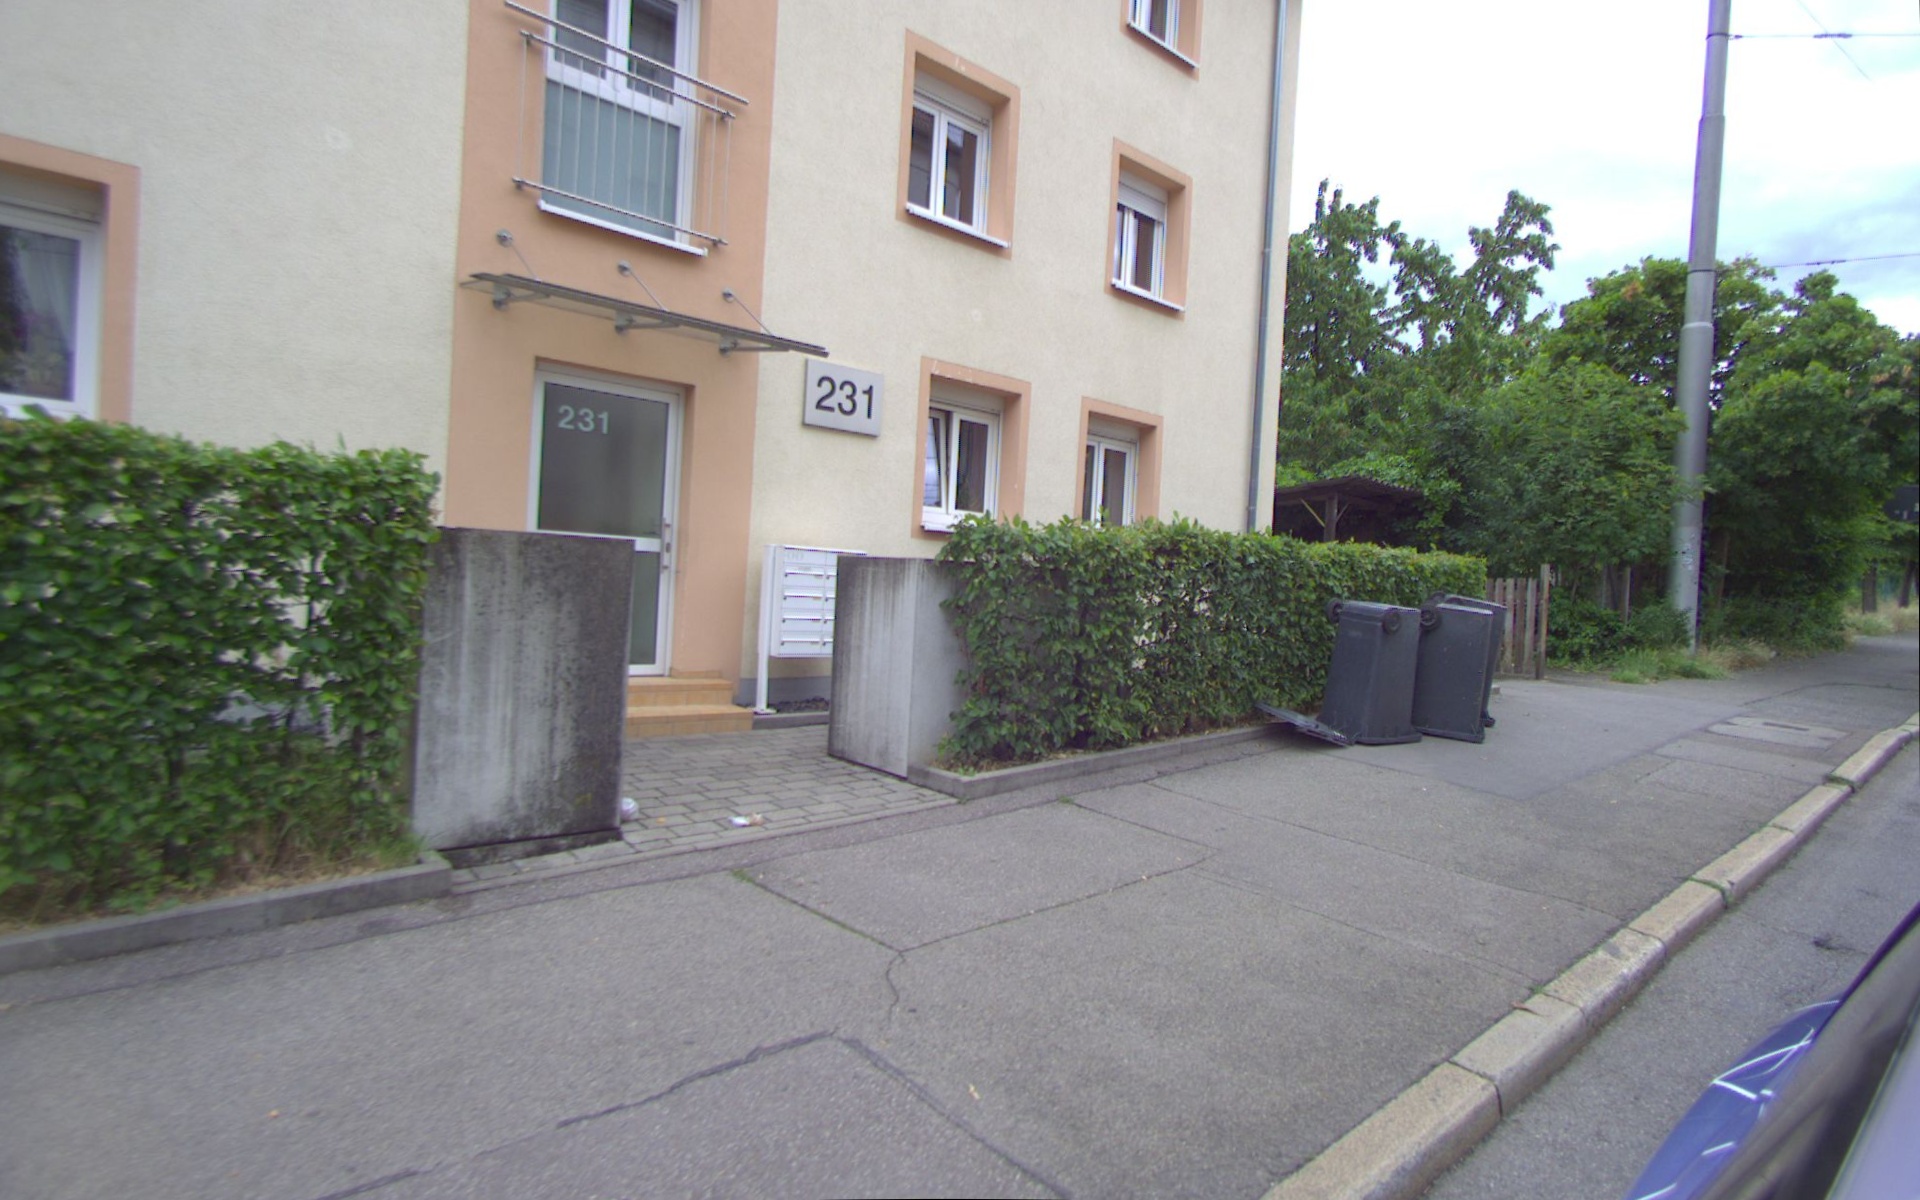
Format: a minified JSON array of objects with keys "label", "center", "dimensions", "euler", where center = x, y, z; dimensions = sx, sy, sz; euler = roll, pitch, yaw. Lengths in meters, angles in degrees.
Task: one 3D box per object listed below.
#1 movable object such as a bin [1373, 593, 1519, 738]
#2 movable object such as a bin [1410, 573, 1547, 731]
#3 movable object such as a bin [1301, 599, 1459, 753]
[{"label":"movable object such as a bin","center":[3.845,0.483,8.014],"dimensions":[0.776,1.024,0.792],"euler":[-1,3,-45]},{"label":"movable object such as a bin","center":[4.394,0.401,8.585],"dimensions":[0.776,1.233,0.792],"euler":[-1,3,-45]},{"label":"movable object such as a bin","center":[3.139,0.526,7.579],"dimensions":[0.775,1.024,0.794],"euler":[0,3,-39]}]
